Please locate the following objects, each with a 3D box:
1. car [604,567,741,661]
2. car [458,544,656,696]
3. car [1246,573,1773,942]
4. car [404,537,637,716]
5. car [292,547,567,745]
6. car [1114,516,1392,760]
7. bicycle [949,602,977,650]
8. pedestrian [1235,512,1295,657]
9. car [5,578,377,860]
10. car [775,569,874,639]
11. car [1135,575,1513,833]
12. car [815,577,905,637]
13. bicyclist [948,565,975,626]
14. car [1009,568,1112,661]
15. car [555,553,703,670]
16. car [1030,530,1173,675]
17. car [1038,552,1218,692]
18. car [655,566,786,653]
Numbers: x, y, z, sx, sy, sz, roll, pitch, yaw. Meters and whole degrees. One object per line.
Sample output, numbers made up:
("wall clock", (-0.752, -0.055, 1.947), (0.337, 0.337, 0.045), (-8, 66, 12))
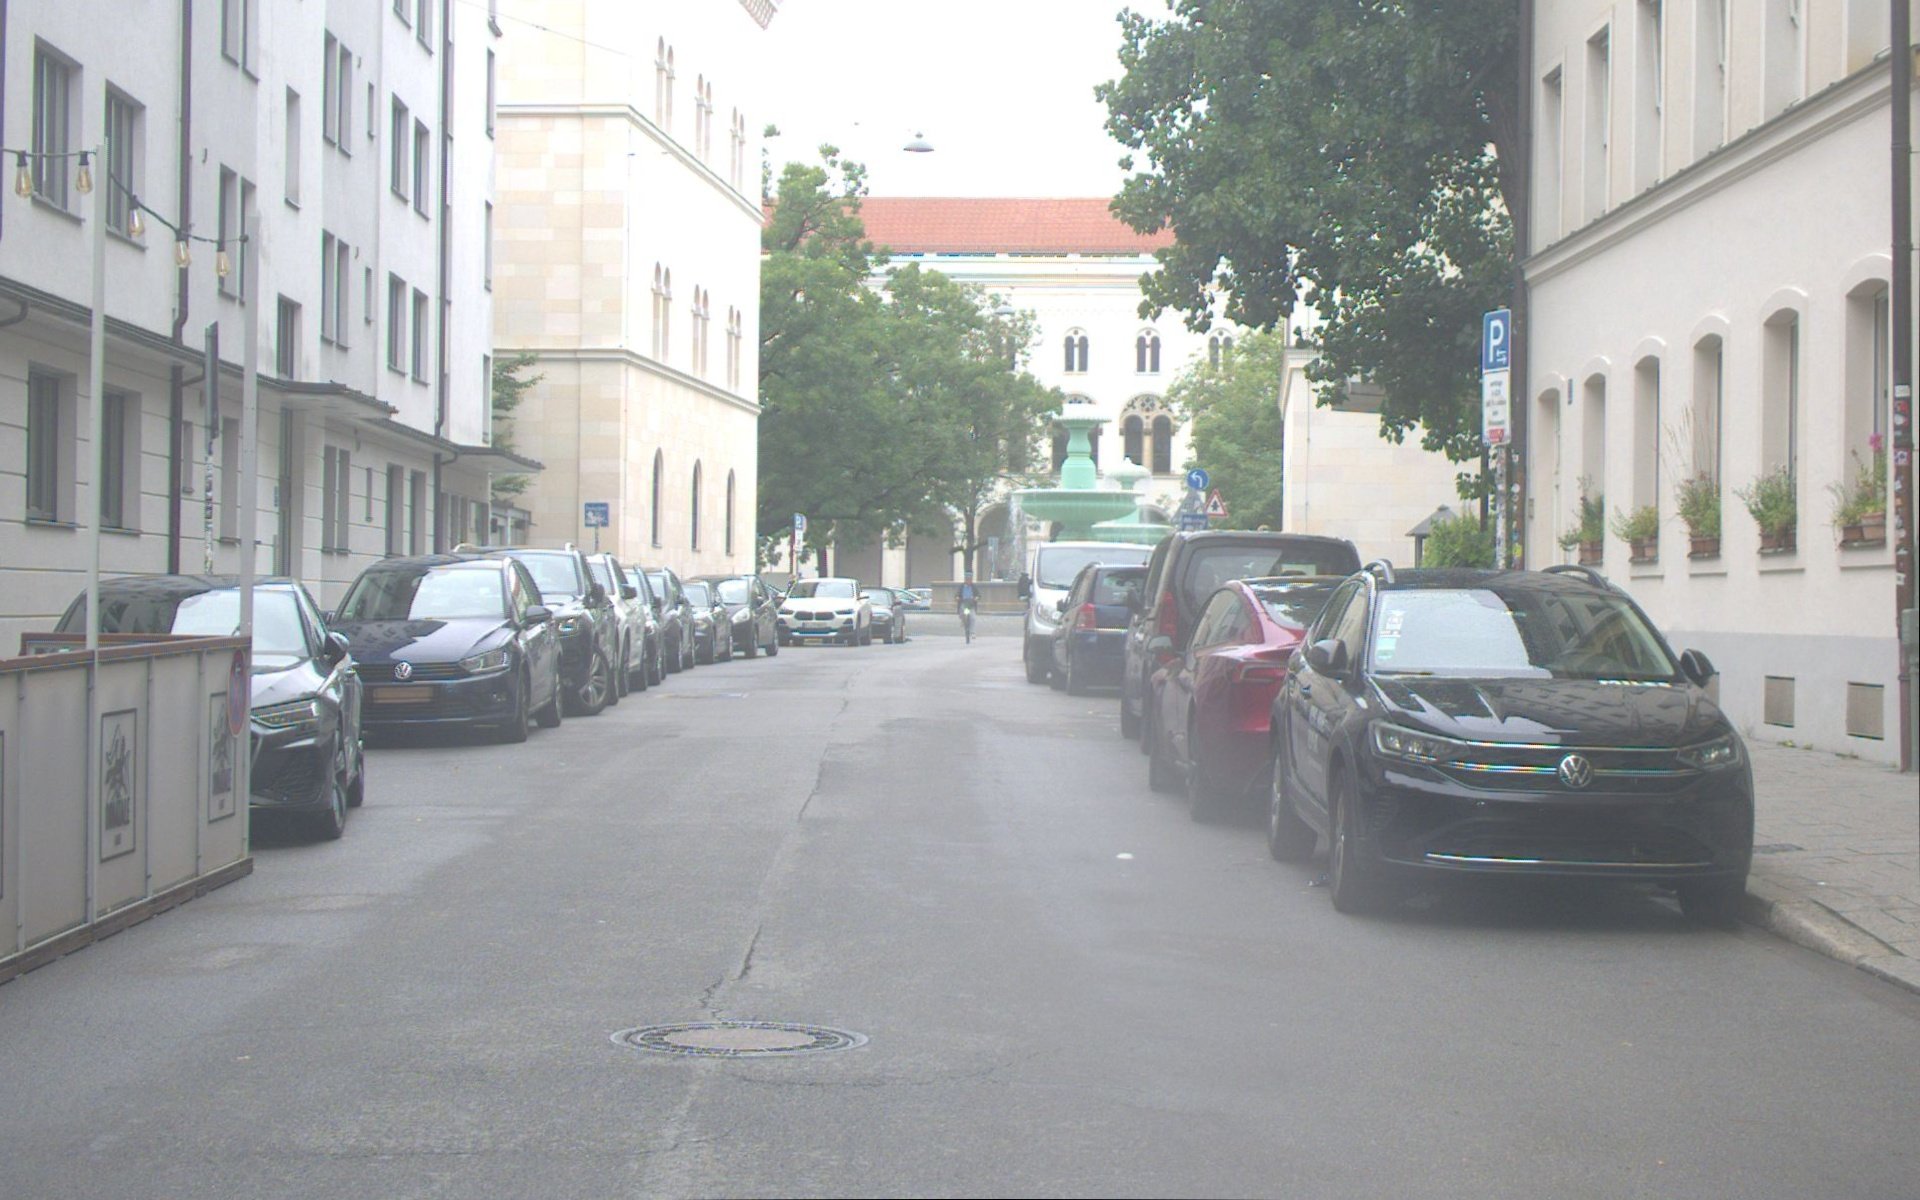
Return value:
("car", (-4.778, 0.208, 57.553), (1.750, 1.448, 4.015), (-1, 1, 3))
("car", (-4.687, 0.188, 40.592), (1.872, 1.652, 4.591), (-1, 1, -1))
("car", (2.388, 0.621, 15.908), (1.746, 1.459, 4.000), (0, 1, -1))
("car", (-4.410, 0.214, 35.098), (1.872, 1.682, 4.521), (-1, 1, -1))
("car", (-4.447, 0.331, 29.369), (1.773, 1.534, 4.159), (-1, 1, -1))
("car", (2.320, 0.287, 28.233), (1.846, 1.770, 4.201), (3, 0, 0))
("bicycle", (0.080, 0.656, 87.135), (0.648, 1.193, 1.950), (0, 0, 2))
("pedestrian", (4.646, -0.240, 52.455), (0.793, 2.190, 0.814), (1, 0, -1))
("car", (-4.222, 0.585, 19.376), (1.638, 1.349, 4.060), (-1, 1, -7))
("car", (-3.029, 0.106, 77.563), (1.778, 1.529, 4.211), (-1, -1, 4))
("car", (2.135, 0.565, 21.312), (1.713, 1.419, 4.458), (1, 0, -2))
("car", (-2.417, 0.183, 83.925), (1.699, 1.388, 4.211), (-1, -1, 5))
("bicyclist", (0.039, -0.114, 87.227), (0.657, 1.545, 0.887), (0, 0, 2))
("car", (1.834, 0.246, 61.800), (1.747, 1.588, 3.955), (1, 0, 3))
("car", (-4.971, 0.144, 52.122), (1.872, 1.652, 4.080), (-1, 1, -1))
("car", (1.942, 0.012, 48.199), (1.882, 1.918, 4.874), (1, 0, 1))
("car", (2.010, 0.241, 42.282), (1.807, 1.595, 4.215), (1, 0, -2))
("car", (-4.303, 0.147, 62.305), (1.751, 1.448, 4.015), (-1, 1, 5))
